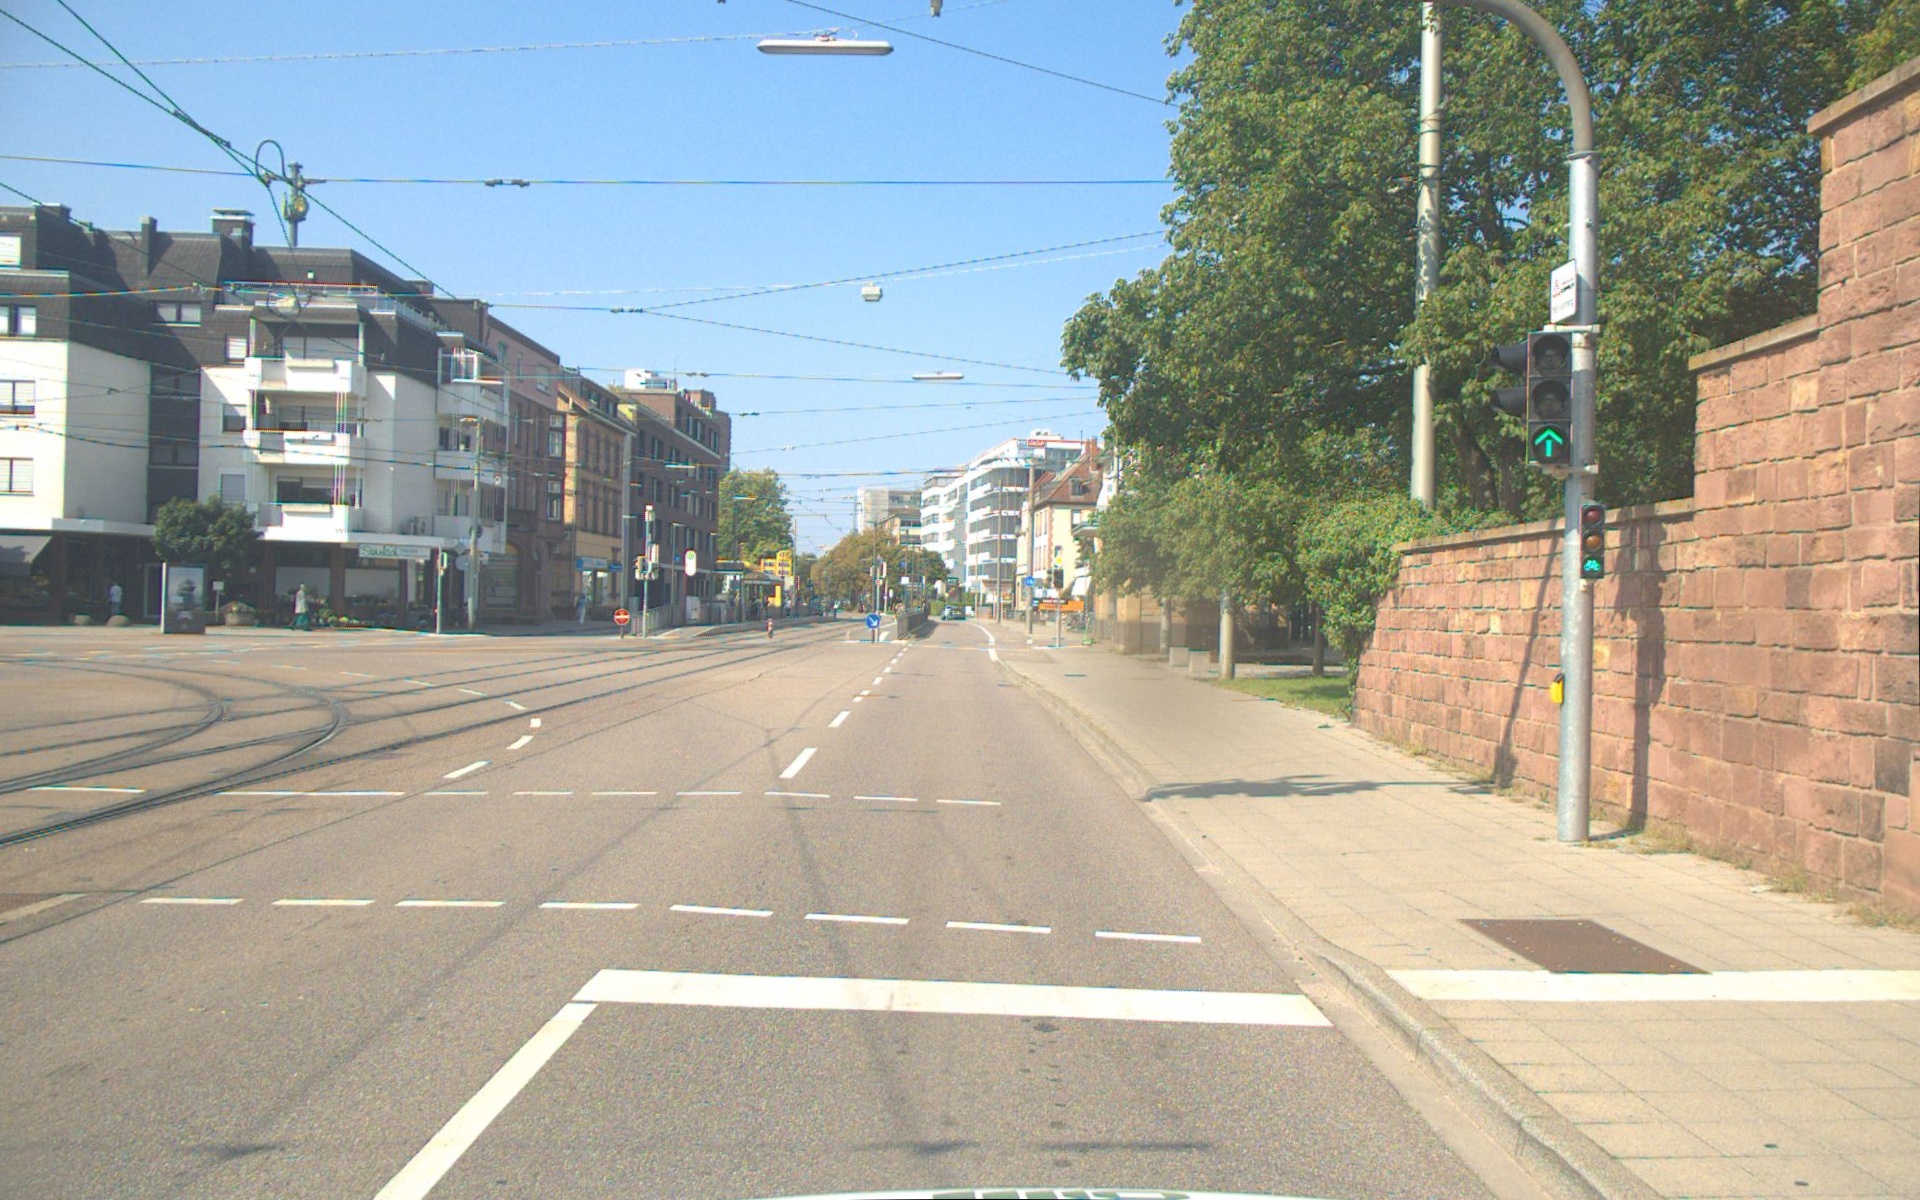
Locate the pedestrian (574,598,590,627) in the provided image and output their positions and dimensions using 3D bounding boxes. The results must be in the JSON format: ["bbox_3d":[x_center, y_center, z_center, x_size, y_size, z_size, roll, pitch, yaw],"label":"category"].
[{"bbox_3d":[-20.821,0.684,90.995,0.472,1.587,0.888,2,-2,11],"label":"pedestrian"}]

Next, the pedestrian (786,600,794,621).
[{"bbox_3d":[-12.532,0.779,121.862,0.522,1.557,0.700,0,-1,-6],"label":"pedestrian"}]

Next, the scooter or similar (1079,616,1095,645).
[{"bbox_3d":[5.058,1.211,66.054,0.512,1.153,1.511,-1,-1,1],"label":"scooter or similar"}]

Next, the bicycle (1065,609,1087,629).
[{"bbox_3d":[6.813,1.134,97.620,0.717,1.152,2.835,-2,0,-7],"label":"bicycle"}]

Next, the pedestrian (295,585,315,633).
[{"bbox_3d":[-24.369,0.319,61.570,0.593,1.776,0.559,0,-1,-34],"label":"pedestrian"}]

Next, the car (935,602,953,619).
[{"bbox_3d":[-1.843,1.242,193.686,1.970,1.891,4.000,-1,-1,1],"label":"car"}]

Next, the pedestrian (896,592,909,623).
[{"bbox_3d":[-3.302,0.433,95.319,0.705,1.733,0.884,-1,-1,1],"label":"pedestrian"}]

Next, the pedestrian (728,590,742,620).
[{"bbox_3d":[-13.071,0.290,95.977,0.693,1.754,0.799,-1,-1,0],"label":"pedestrian"}]

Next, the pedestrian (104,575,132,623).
[{"bbox_3d":[-31.328,-0.049,61.538,0.665,1.771,0.698,-1,-1,1],"label":"pedestrian"}]

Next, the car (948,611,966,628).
[{"bbox_3d":[-0.340,2.204,187.429,1.970,1.891,4.000,-1,-1,1],"label":"car"}]

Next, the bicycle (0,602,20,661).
[{"bbox_3d":[-19.822,0.644,33.219,0.563,1.200,2.208,-1,0,2],"label":"bicycle"}]
